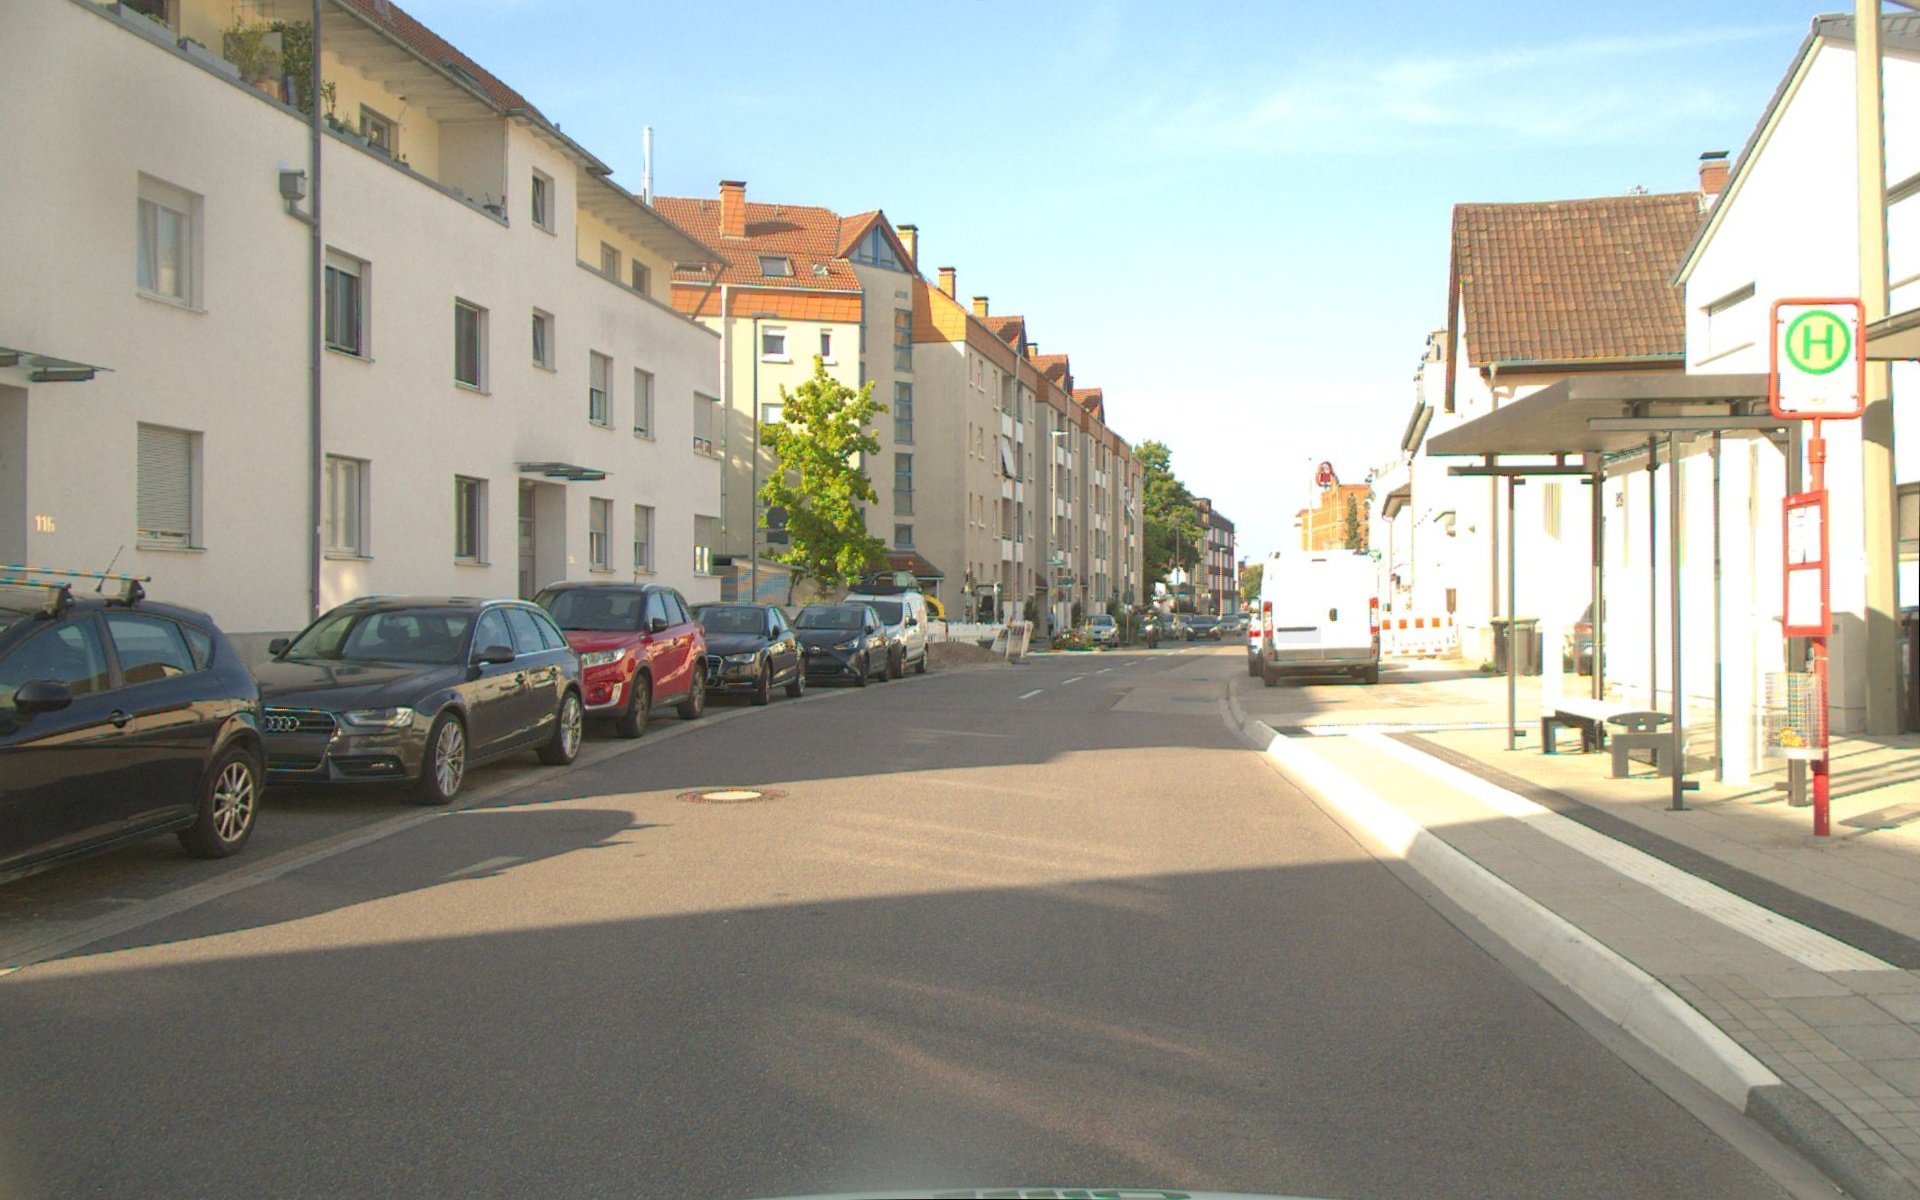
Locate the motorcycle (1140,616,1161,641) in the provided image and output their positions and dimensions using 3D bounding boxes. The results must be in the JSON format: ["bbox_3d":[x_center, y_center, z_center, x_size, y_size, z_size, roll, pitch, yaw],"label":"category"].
[{"bbox_3d":[8.064,1.205,70.029,0.752,1.002,2.201,0,0,10],"label":"motorcycle"}]

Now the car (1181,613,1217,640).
[{"bbox_3d":[13.540,1.489,93.613,1.790,1.445,4.212,-1,-1,11],"label":"car"}]

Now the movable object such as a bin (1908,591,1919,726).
[{"bbox_3d":[8.278,0.479,13.563,0.681,1.112,0.559,-1,-1,5],"label":"movable object such as a bin"}]

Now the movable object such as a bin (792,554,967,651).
[{"bbox_3d":[-2.527,0.075,52.260,5.387,2.951,2.111,1,0,-3],"label":"movable object such as a bin"}]

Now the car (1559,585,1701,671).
[{"bbox_3d":[12.268,0.475,30.152,1.627,1.432,3.967,-2,0,33],"label":"car"}]

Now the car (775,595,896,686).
[{"bbox_3d":[-2.218,0.694,30.222,1.461,1.490,3.516,3,0,8],"label":"car"}]

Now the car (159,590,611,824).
[{"bbox_3d":[-4.300,0.701,13.225,1.691,1.503,4.505,1,0,5],"label":"car"}]

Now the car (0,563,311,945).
[{"bbox_3d":[-4.959,0.642,7.897,1.738,1.650,4.180,2,0,5],"label":"car"}]

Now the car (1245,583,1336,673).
[{"bbox_3d":[7.029,0.569,35.510,1.740,1.771,4.487,-2,0,10],"label":"car"}]

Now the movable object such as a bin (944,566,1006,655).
[{"bbox_3d":[0.585,0.341,61.763,1.612,3.193,3.904,1,1,11],"label":"movable object such as a bin"}]

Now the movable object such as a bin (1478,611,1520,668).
[{"bbox_3d":[10.786,0.786,33.136,0.712,1.112,0.626,0,-1,10],"label":"movable object such as a bin"}]

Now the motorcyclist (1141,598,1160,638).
[{"bbox_3d":[8.071,0.760,70.062,0.752,1.681,0.844,0,0,9],"label":"motorcyclist"}]

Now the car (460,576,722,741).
[{"bbox_3d":[-4.023,0.576,18.767,1.691,1.650,4.266,0,0,5],"label":"car"}]

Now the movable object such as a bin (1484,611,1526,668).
[{"bbox_3d":[10.698,0.775,32.473,0.712,1.112,0.554,0,-1,10],"label":"movable object such as a bin"}]

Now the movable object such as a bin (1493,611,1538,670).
[{"bbox_3d":[10.500,0.767,31.276,0.712,1.112,0.554,0,-1,10],"label":"movable object such as a bin"}]

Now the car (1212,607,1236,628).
[{"bbox_3d":[19.421,1.282,121.658,1.583,1.480,3.688,0,0,11],"label":"car"}]

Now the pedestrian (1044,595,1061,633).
[{"bbox_3d":[4.596,0.681,82.160,0.703,1.850,0.746,0,0,13],"label":"pedestrian"}]

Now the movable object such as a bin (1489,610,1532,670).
[{"bbox_3d":[10.607,0.760,31.884,0.712,1.152,0.554,0,-1,10],"label":"movable object such as a bin"}]

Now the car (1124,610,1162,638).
[{"bbox_3d":[9.871,1.258,88.998,1.650,1.430,4.087,0,0,11],"label":"car"}]

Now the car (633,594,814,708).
[{"bbox_3d":[-3.340,0.679,24.172,1.691,1.503,4.266,0,0,5],"label":"car"}]

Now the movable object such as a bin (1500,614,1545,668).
[{"bbox_3d":[10.381,0.753,30.551,0.712,0.975,0.554,0,-1,10],"label":"movable object such as a bin"}]

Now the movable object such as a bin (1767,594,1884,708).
[{"bbox_3d":[8.754,0.507,16.753,0.794,1.112,0.768,-1,0,5],"label":"movable object such as a bin"}]

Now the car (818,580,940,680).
[{"bbox_3d":[-1.650,0.599,35.342,1.690,1.995,4.442,0,0,9],"label":"car"}]

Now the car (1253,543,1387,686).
[{"bbox_3d":[6.582,0.252,30.691,2.128,2.368,5.002,-2,0,10],"label":"car"}]

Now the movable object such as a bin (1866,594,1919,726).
[{"bbox_3d":[8.331,0.508,14.303,0.681,1.112,0.559,-1,-1,3],"label":"movable object such as a bin"}]

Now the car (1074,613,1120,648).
[{"bbox_3d":[5.914,1.278,71.230,1.605,1.420,3.674,-1,0,11],"label":"car"}]
